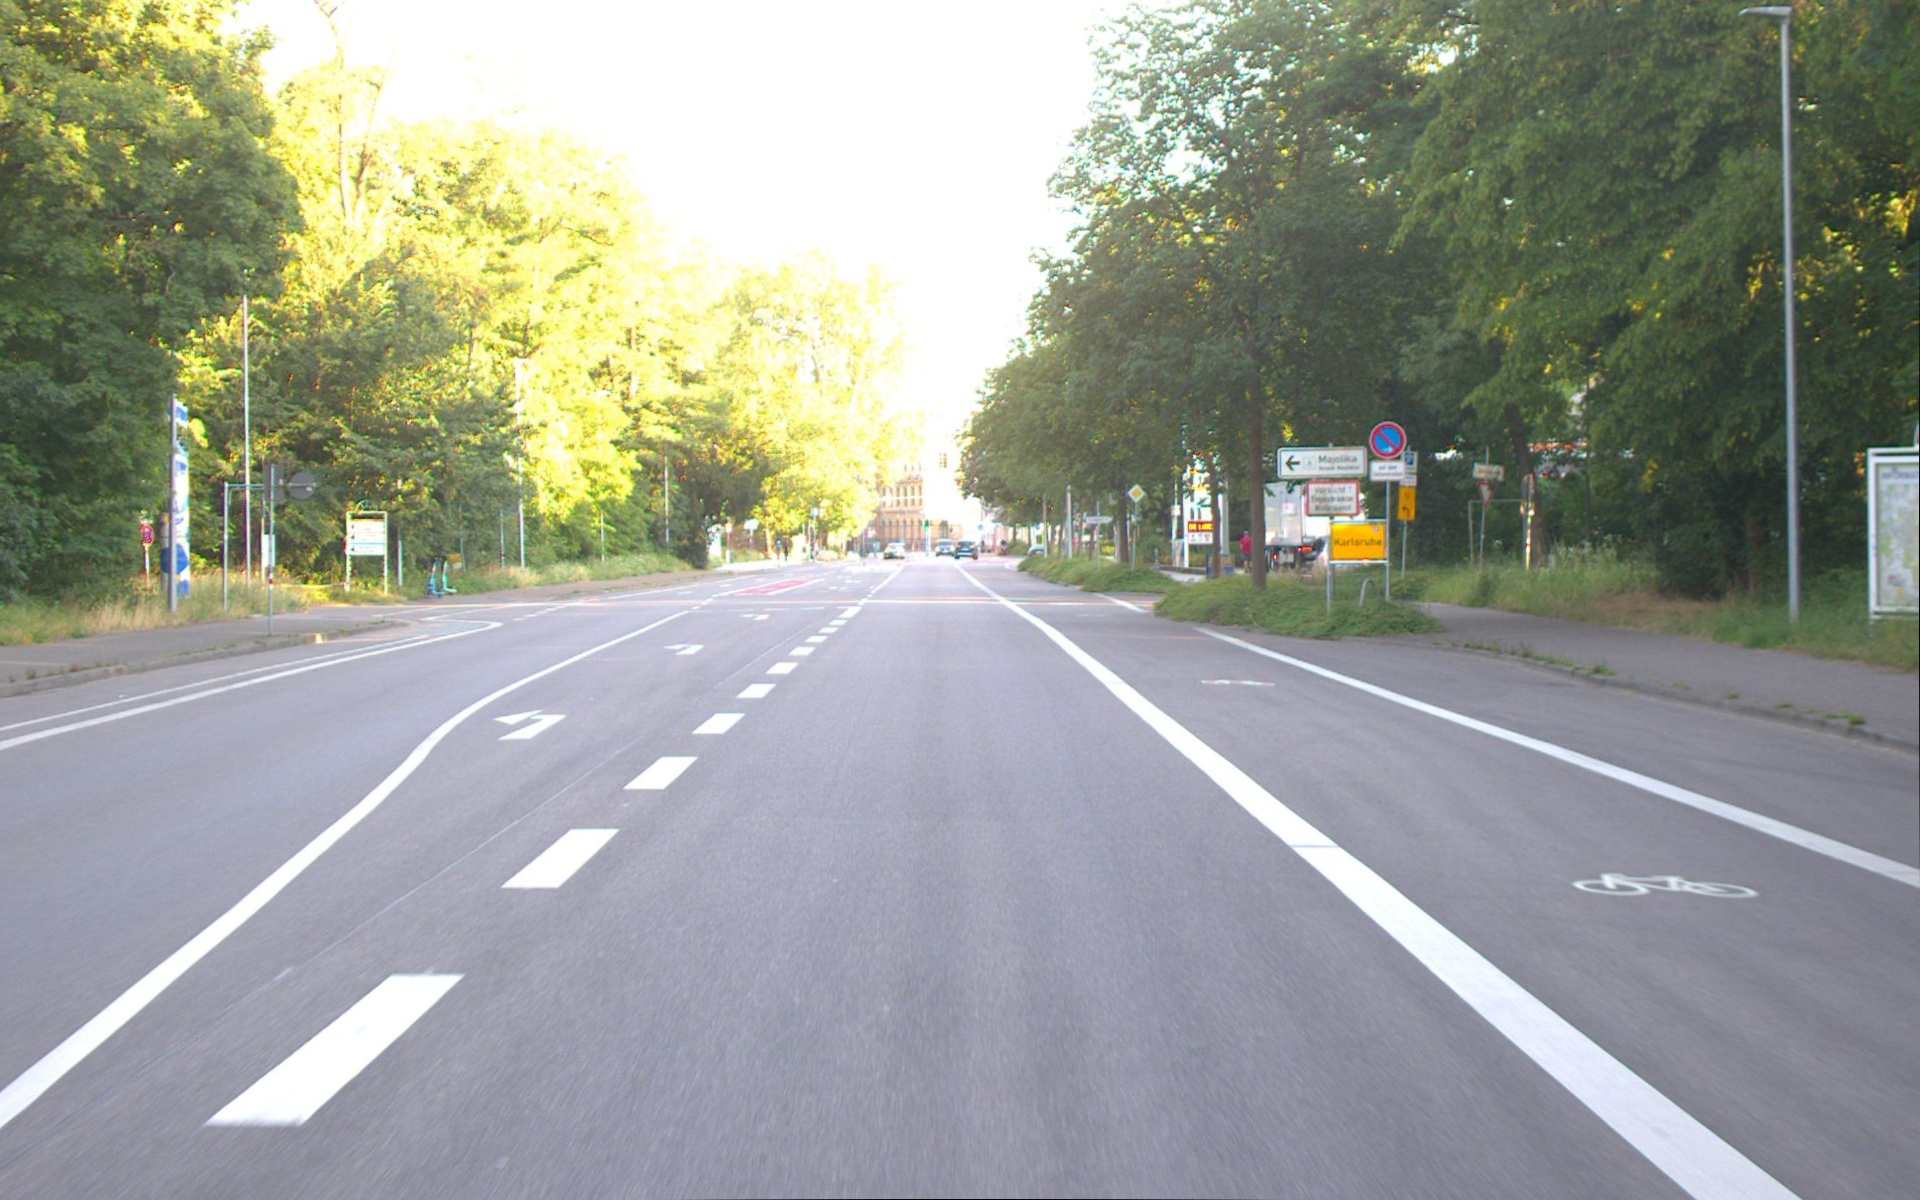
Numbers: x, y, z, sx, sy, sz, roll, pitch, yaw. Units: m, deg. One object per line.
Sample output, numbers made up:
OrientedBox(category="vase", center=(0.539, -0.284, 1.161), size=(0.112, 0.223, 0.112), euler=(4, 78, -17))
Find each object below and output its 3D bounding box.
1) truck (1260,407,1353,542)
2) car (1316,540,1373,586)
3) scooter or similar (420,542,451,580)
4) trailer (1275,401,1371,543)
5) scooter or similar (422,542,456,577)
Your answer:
OrientedBox(category="truck", center=(14.352, -5.164, 142.970), size=(3.033, 5.437, 8.410), euler=(0, 2, 0))
OrientedBox(category="car", center=(13.823, -1.339, 123.799), size=(1.770, 1.578, 4.819), euler=(1, 1, 3))
OrientedBox(category="scooter or similar", center=(-15.549, -1.165, 101.922), size=(0.361, 1.106, 0.877), euler=(0, 1, 42))
OrientedBox(category="trailer", center=(14.307, -5.003, 136.108), size=(3.020, 5.443, 7.935), euler=(0, 1, 1))
OrientedBox(category="scooter or similar", center=(-15.958, -1.236, 105.273), size=(0.897, 1.065, 0.496), euler=(-1, 1, -25))
